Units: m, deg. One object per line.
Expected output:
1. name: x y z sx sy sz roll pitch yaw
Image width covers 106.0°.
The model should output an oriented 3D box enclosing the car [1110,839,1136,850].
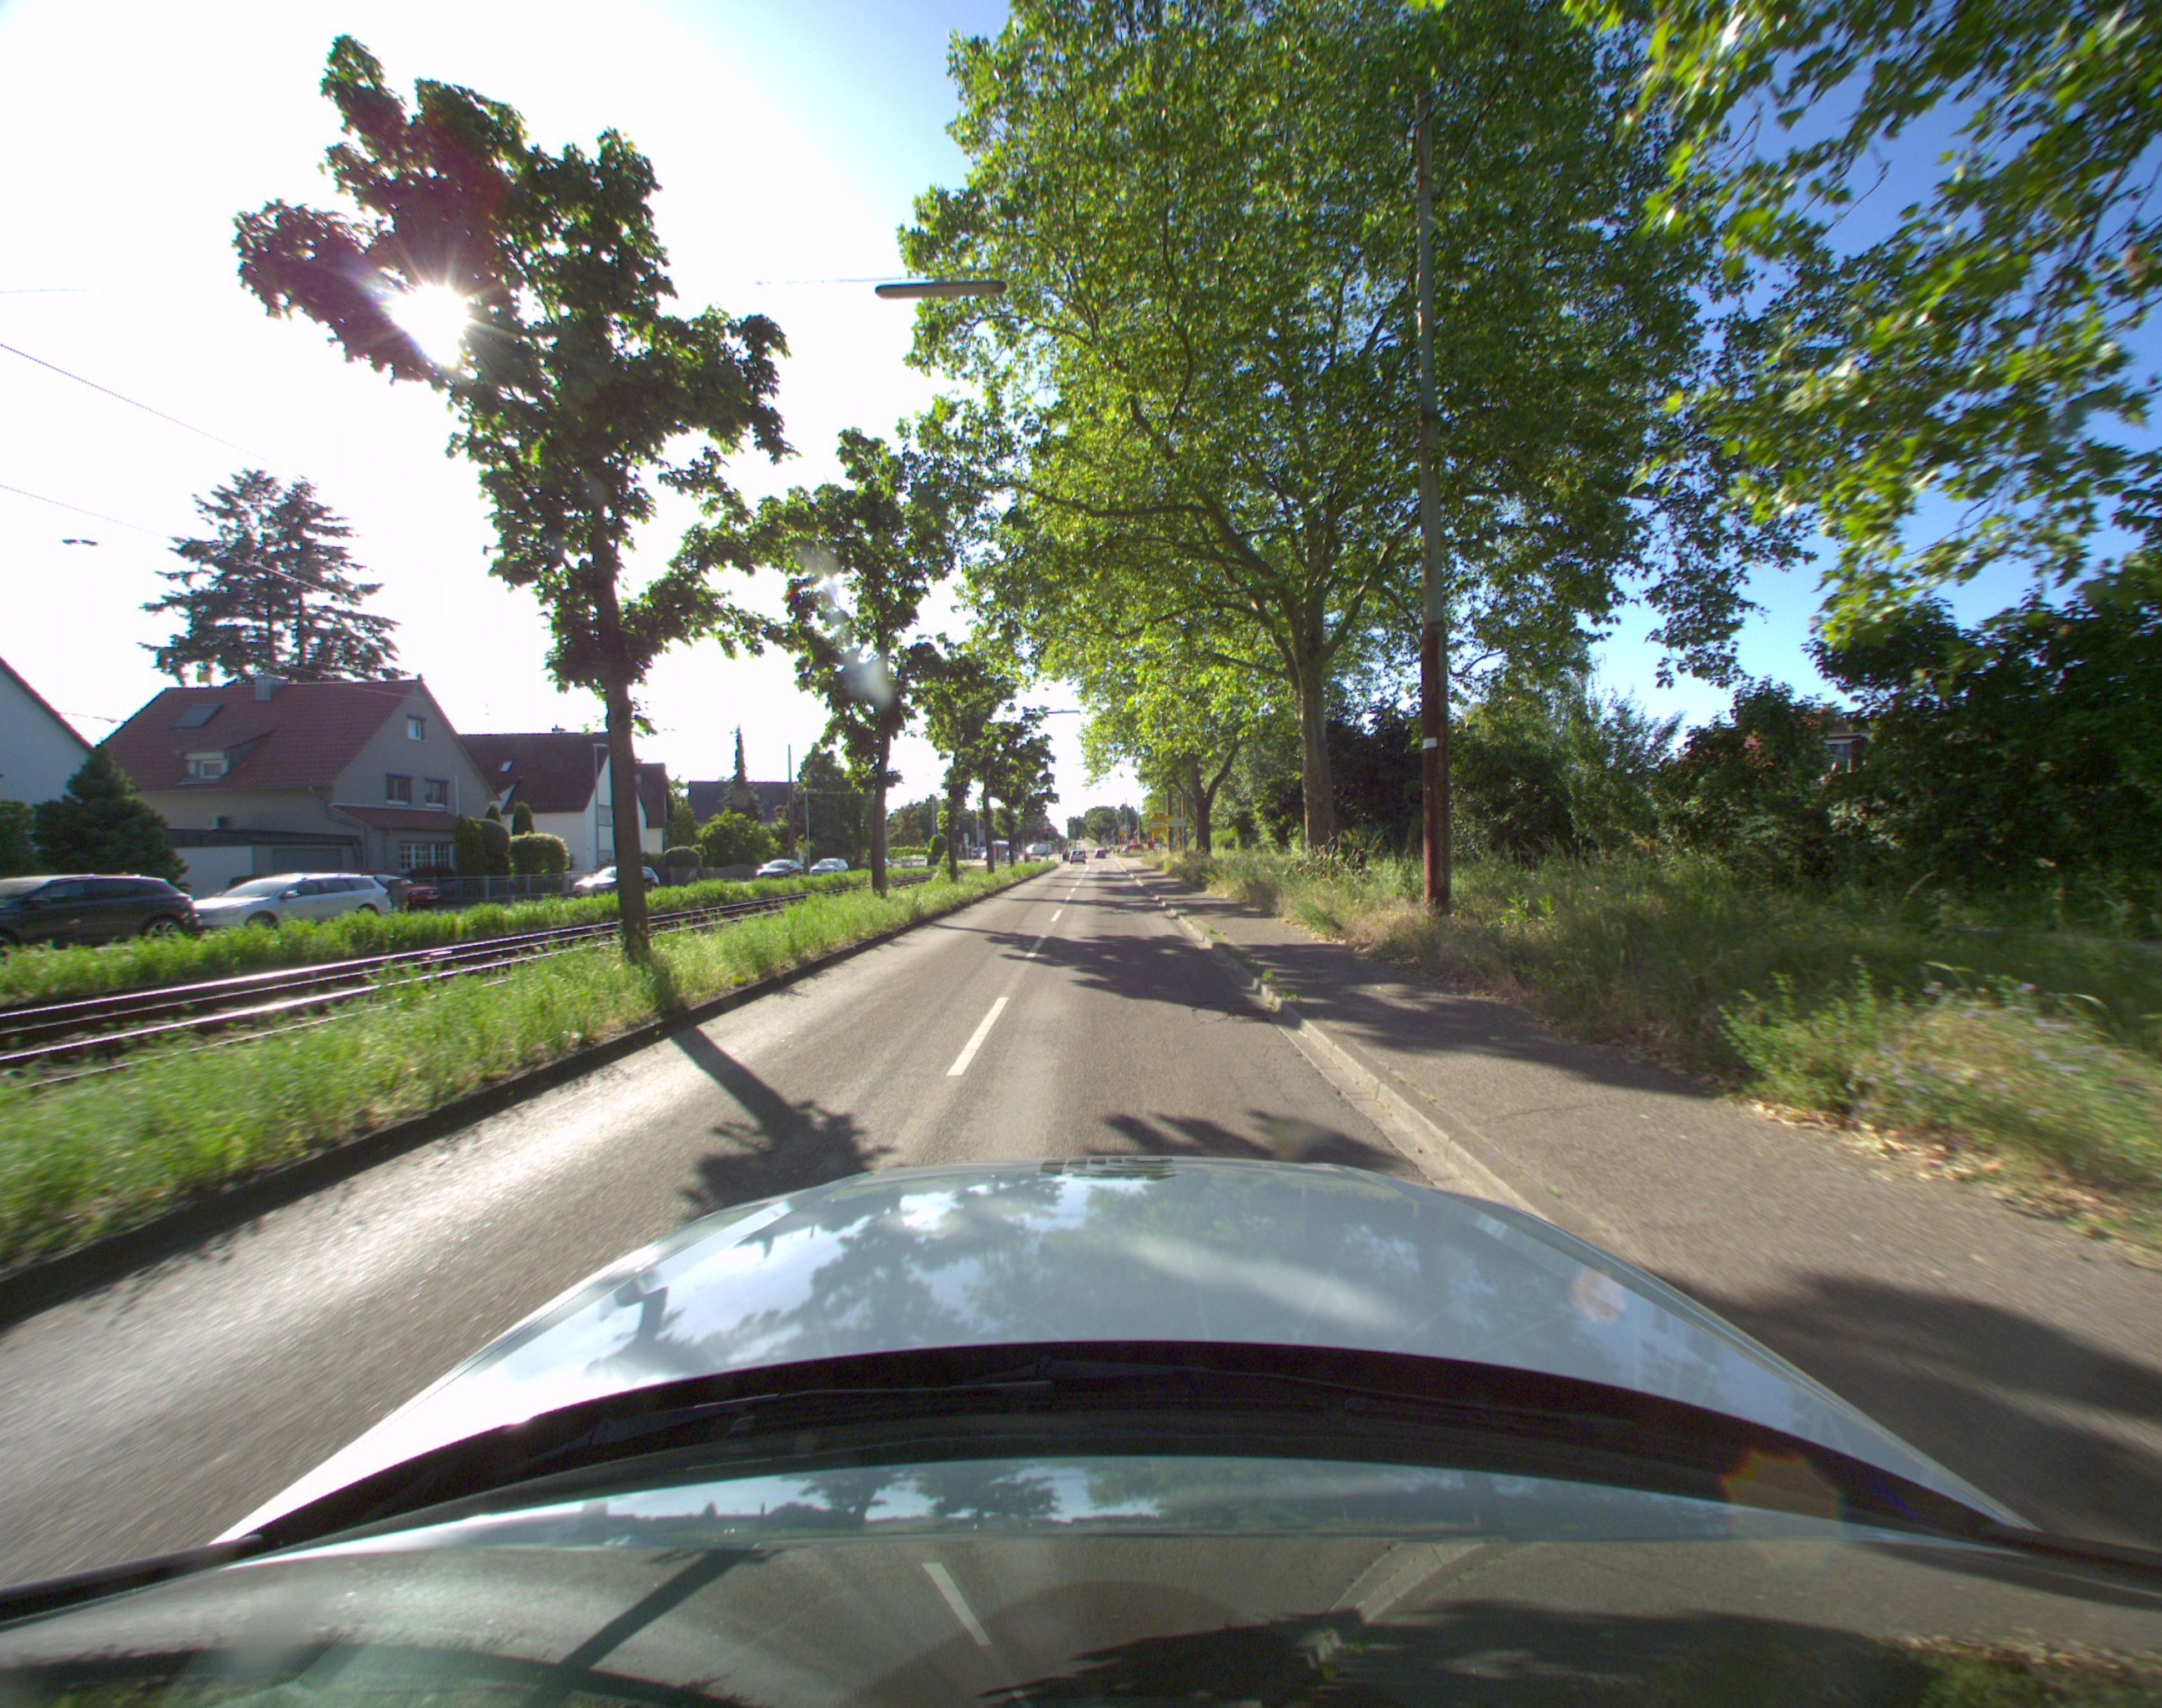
1. car: 8.838 -1.990 171.875 5.170 2.275 1.985 0 0 -23

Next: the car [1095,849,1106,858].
1. car: 3.222 -0.086 133.369 1.785 1.559 4.228 0 0 1

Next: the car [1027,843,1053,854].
1. car: -8.773 -1.214 173.645 5.268 2.354 1.851 0 0 -25

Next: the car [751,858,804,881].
1. car: -19.951 0.973 53.738 1.853 1.413 4.159 0 0 1

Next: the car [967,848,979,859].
1. car: -23.027 -0.037 174.497 2.083 2.354 5.256 0 0 -2

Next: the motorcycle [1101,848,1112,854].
1. motorcycle: 5.573 -0.634 180.084 2.385 1.183 0.724 0 0 -25

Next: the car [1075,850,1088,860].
1. car: 0.114 0.140 138.535 1.986 1.603 4.474 0 0 1

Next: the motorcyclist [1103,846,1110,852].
1. motorcyclist: 5.575 -1.112 180.086 1.321 1.448 0.724 0 0 -25

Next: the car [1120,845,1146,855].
1. car: 11.311 -0.894 176.990 5.170 2.275 1.985 0 0 -23

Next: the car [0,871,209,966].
1. car: -20.510 1.217 16.025 1.742 1.650 4.556 0 0 1

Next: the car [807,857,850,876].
1. car: -19.656 0.956 63.596 1.853 1.431 4.463 0 0 1

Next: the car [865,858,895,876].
1. car: -19.331 1.247 78.481 1.771 1.707 4.228 0 0 1

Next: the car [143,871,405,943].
1. car: -20.702 1.285 21.287 1.986 1.545 4.782 0 0 2

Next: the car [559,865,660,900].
1. car: -20.327 1.201 35.358 1.853 1.369 4.228 0 0 1

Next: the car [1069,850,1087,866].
1. car: -0.294 0.379 84.824 1.853 1.601 4.228 0 0 1

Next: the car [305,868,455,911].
1. car: -25.919 1.284 30.226 3.904 1.452 1.889 0 1 1
